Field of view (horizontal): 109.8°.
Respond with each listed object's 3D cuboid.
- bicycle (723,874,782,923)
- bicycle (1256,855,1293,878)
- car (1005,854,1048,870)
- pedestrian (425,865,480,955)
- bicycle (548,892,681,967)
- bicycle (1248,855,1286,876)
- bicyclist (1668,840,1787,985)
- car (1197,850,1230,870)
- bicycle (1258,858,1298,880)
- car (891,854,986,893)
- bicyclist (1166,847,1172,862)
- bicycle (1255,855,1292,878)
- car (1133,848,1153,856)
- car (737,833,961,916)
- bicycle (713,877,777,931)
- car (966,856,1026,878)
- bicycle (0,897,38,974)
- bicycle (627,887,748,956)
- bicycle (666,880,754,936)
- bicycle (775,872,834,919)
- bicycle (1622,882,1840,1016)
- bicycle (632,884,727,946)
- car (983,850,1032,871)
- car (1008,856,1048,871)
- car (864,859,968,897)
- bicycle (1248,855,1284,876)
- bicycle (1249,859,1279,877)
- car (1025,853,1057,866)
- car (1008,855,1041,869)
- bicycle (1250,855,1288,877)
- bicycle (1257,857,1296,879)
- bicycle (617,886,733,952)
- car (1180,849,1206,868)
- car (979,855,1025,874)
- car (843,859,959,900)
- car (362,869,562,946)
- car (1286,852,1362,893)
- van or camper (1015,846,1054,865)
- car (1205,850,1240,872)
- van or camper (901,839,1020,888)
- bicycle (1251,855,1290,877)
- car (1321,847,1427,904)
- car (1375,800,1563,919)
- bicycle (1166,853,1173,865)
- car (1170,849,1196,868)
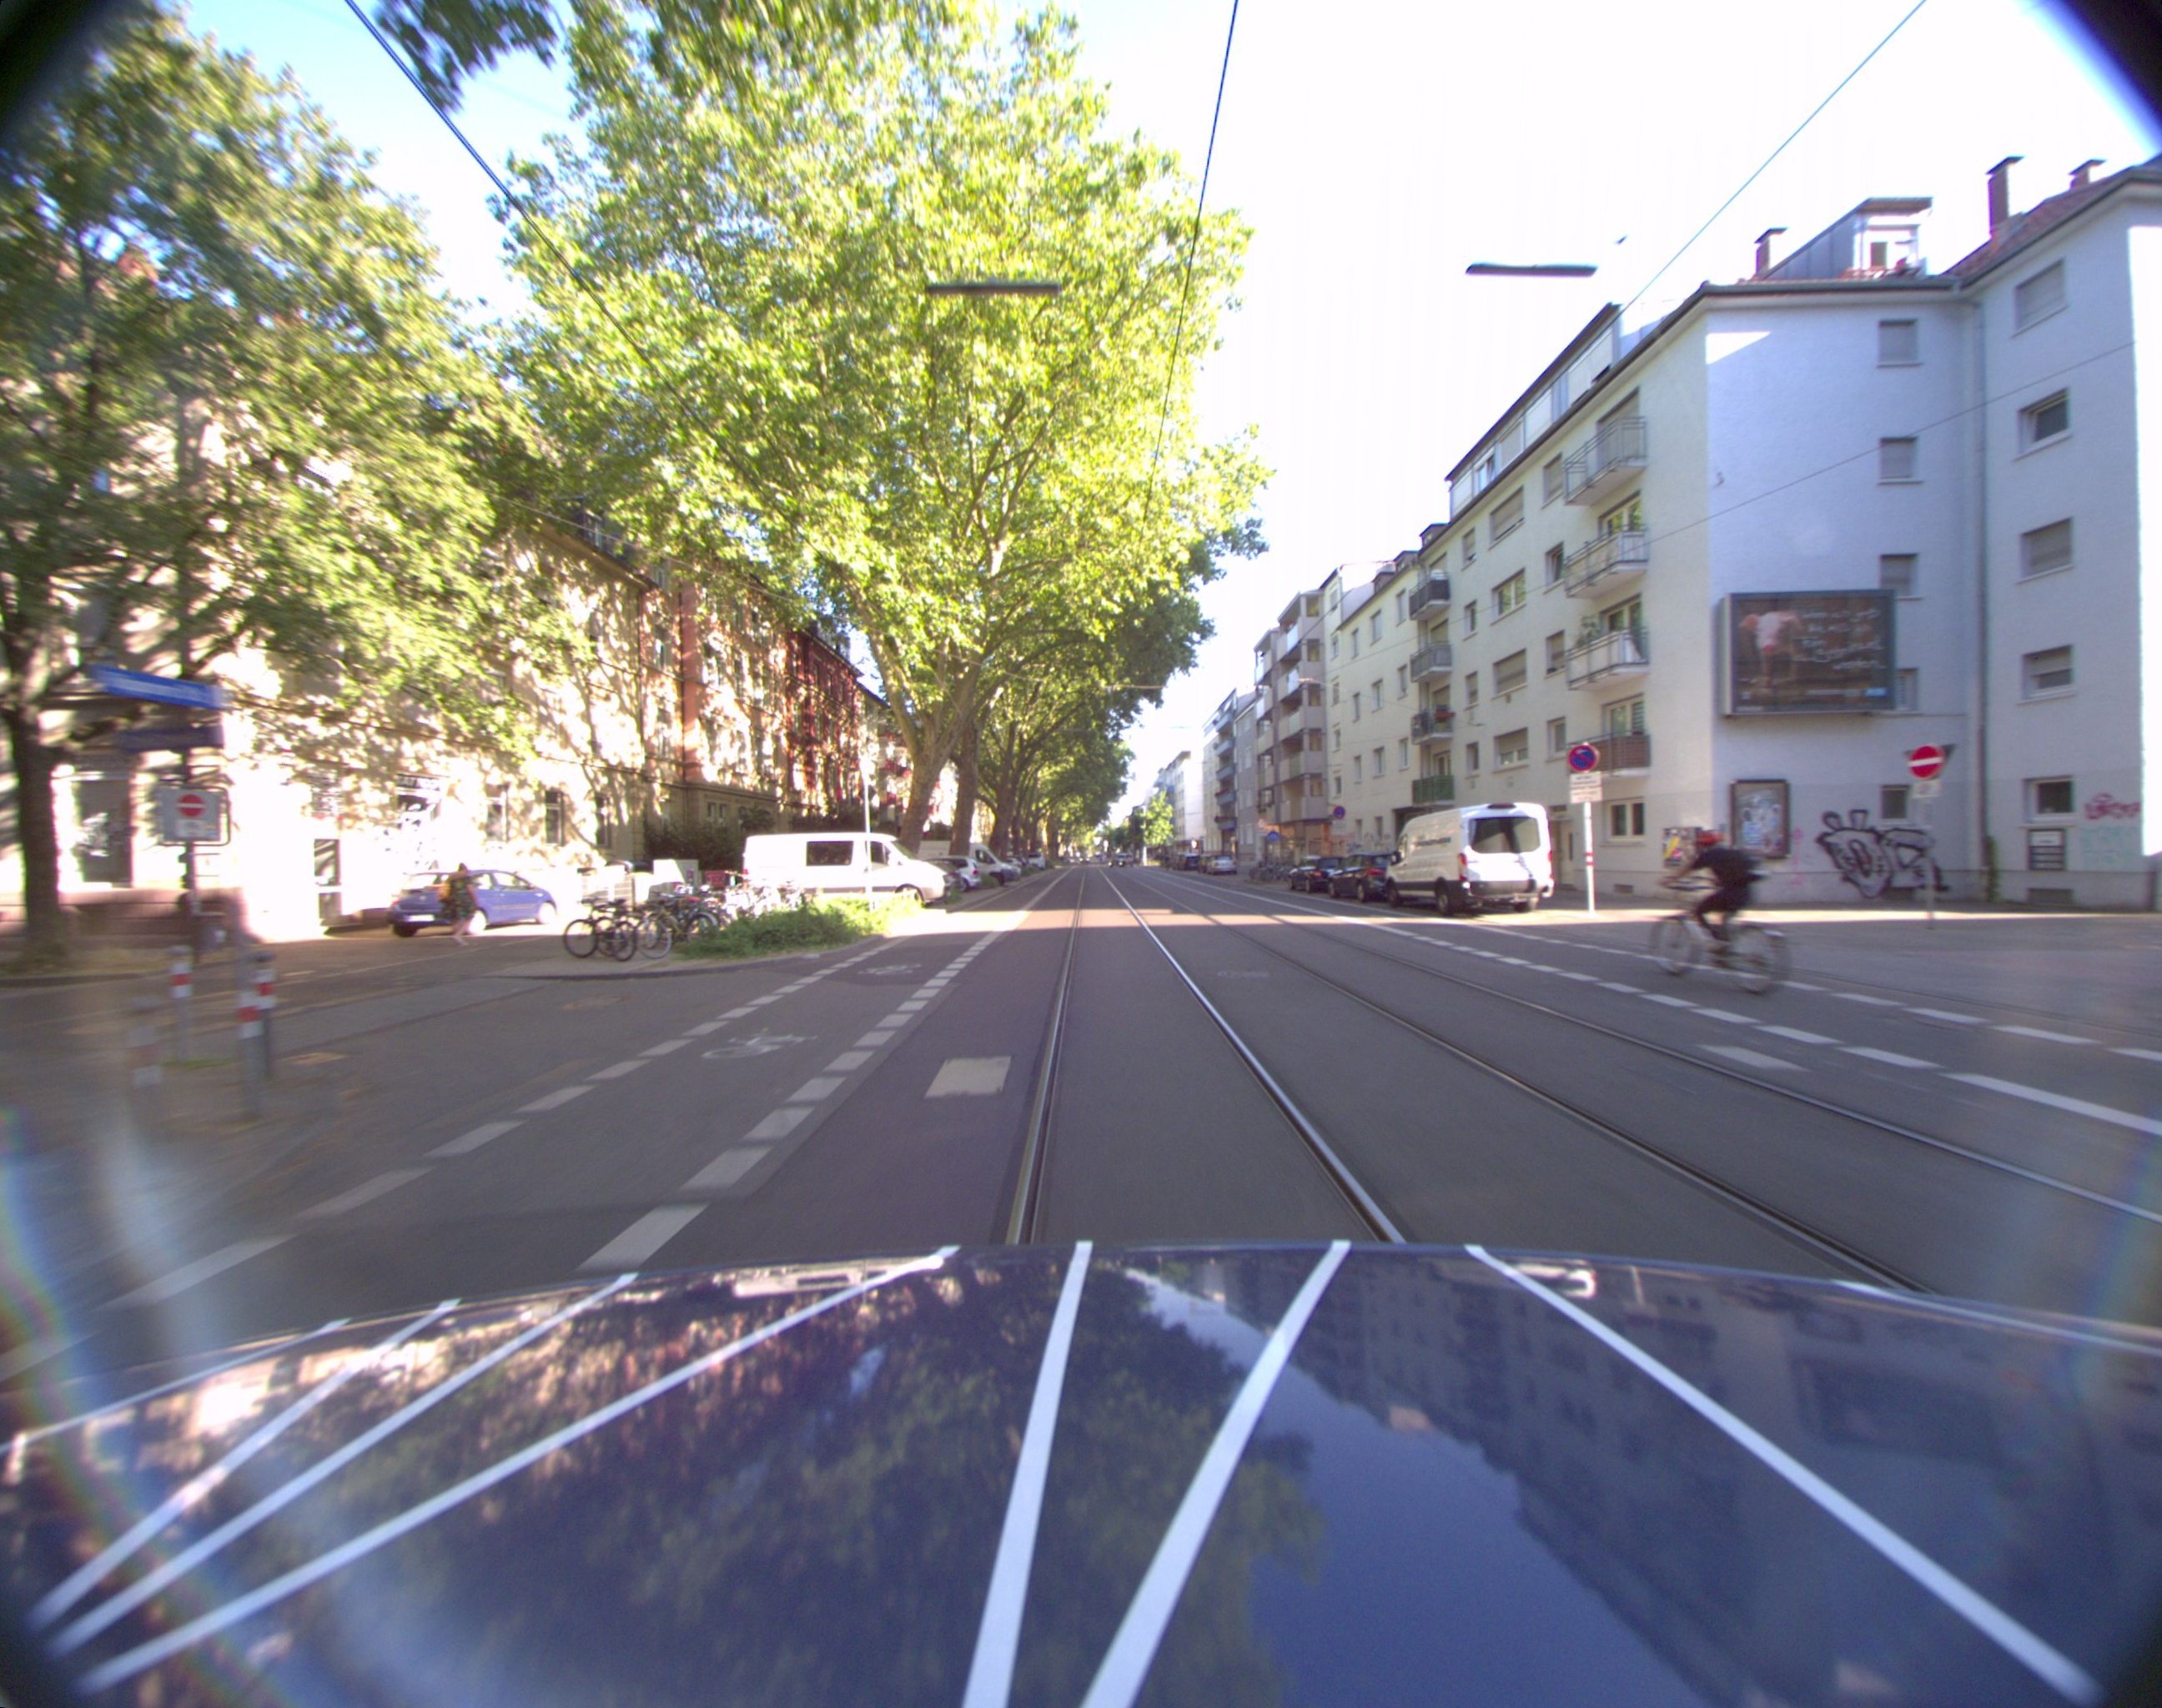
[{"bbox_3d":[-8.379,1.106,19.334,2.043,1.172,0.414,-1,2,38],"label":"bicycle"},{"bbox_3d":[10.191,0.664,39.990,1.792,1.112,0.425,-3,1,8],"label":"bicycle"},{"bbox_3d":[-5.474,0.806,76.895,4.206,1.473,1.911,0,1,2],"label":"car"},{"bbox_3d":[-12.075,1.056,14.623,0.594,1.642,0.707,-2,2,-25],"label":"pedestrian"},{"bbox_3d":[-7.720,1.251,12.581,2.045,1.172,0.413,-2,2,9],"label":"bicycle"},{"bbox_3d":[10.327,0.639,42.201,1.935,1.112,0.440,-3,1,8],"label":"bicycle"},{"bbox_3d":[6.874,0.592,8.119,0.584,1.473,0.807,0,1,0],"label":"bicyclist"},{"bbox_3d":[10.293,0.439,59.468,1.798,1.482,4.240,-1,0,0],"label":"car"},{"bbox_3d":[10.033,0.749,38.640,1.897,1.032,0.402,-3,1,8],"label":"bicycle"},{"bbox_3d":[-6.440,0.855,34.598,3.965,1.646,1.795,-1,1,-2],"label":"car"},{"bbox_3d":[8.203,0.088,70.960,0.510,1.386,0.709,1,1,0],"label":"bicyclist"},{"bbox_3d":[10.244,0.657,40.490,1.822,1.112,0.425,-3,1,8],"label":"bicycle"},{"bbox_3d":[12.498,-0.381,152.872,3.953,1.515,1.587,-1,1,4],"label":"car"},{"bbox_3d":[-6.772,0.598,22.629,6.005,2.269,2.006,-1,0,2],"label":"car"},{"bbox_3d":[-7.874,1.143,17.767,2.043,1.172,0.414,-1,2,38],"label":"bicycle"},{"bbox_3d":[-5.932,0.918,53.197,3.963,1.471,1.688,0,1,1],"label":"car"},{"bbox_3d":[-18.383,1.418,12.427,0.508,1.249,1.903,-3,3,-20],"label":"bicycle"},{"bbox_3d":[-7.094,1.218,13.691,2.045,1.172,0.413,-2,2,9],"label":"bicycle"},{"bbox_3d":[-8.122,1.166,16.614,2.044,1.172,0.414,-1,2,22],"label":"bicycle"},{"bbox_3d":[-7.386,1.076,20.220,2.043,1.172,0.414,-1,2,38],"label":"bicycle"},{"bbox_3d":[6.850,0.927,8.196,0.422,1.144,2.231,0,1,0],"label":"bicycle"},{"bbox_3d":[-8.059,1.212,15.242,2.044,1.172,0.414,-1,2,22],"label":"bicycle"},{"bbox_3d":[-6.347,0.558,65.986,4.003,1.734,1.805,-1,0,1],"label":"car"},{"bbox_3d":[-5.184,0.968,74.182,3.838,1.435,1.699,0,-2,-6],"label":"car"},{"bbox_3d":[-6.892,0.978,32.041,3.964,1.470,1.796,-1,1,0],"label":"car"},{"bbox_3d":[10.396,0.665,42.832,1.897,1.112,0.402,-3,1,8],"label":"bicycle"},{"bbox_3d":[10.474,0.783,43.421,1.624,0.912,0.401,-3,1,-16],"label":"bicycle"},{"bbox_3d":[-4.796,0.687,91.764,3.570,1.431,1.726,-1,1,4],"label":"car"},{"bbox_3d":[-6.343,0.907,85.189,3.572,1.522,1.677,-1,1,-1],"label":"car"},{"bbox_3d":[10.297,0.645,41.663,1.964,1.112,0.440,-3,1,8],"label":"bicycle"},{"bbox_3d":[10.094,0.715,39.206,1.897,1.032,0.402,-3,1,8],"label":"bicycle"},{"bbox_3d":[-7.611,1.217,14.260,2.045,1.172,0.413,-2,2,9],"label":"bicycle"},{"bbox_3d":[10.328,0.399,70.383,1.660,1.591,4.201,-3,0,0],"label":"car"},{"bbox_3d":[-6.594,0.879,63.482,3.618,1.486,1.660,-1,1,-1],"label":"car"},{"bbox_3d":[-6.949,0.978,29.562,4.064,1.451,1.796,-1,1,-1],"label":"car"},{"bbox_3d":[-14.145,1.151,17.654,1.737,1.447,3.569,-3,1,-2],"label":"car"},{"bbox_3d":[9.551,0.675,30.200,1.722,1.448,4.572,-1,0,2],"label":"car"},{"bbox_3d":[-5.380,0.139,88.041,4.388,2.097,1.838,-1,1,-3],"label":"van or camper"},{"bbox_3d":[10.157,0.446,54.851,1.694,1.482,4.728,-1,0,2],"label":"car"},{"bbox_3d":[-6.454,0.481,41.238,6.048,2.476,2.107,-1,1,0],"label":"van or camper"},{"bbox_3d":[10.257,0.651,41.176,1.972,1.112,0.425,-3,1,8],"label":"bicycle"},{"bbox_3d":[9.370,0.620,24.670,1.723,1.622,4.346,-1,0,-1],"label":"car"},{"bbox_3d":[9.493,0.101,19.281,2.069,2.521,5.667,-1,1,3],"label":"car"},{"bbox_3d":[8.185,0.469,70.519,0.418,1.012,1.946,0,1,1],"label":"bicycle"},{"bbox_3d":[10.106,0.380,75.366,1.784,1.728,4.488,-3,0,-1],"label":"car"}]
